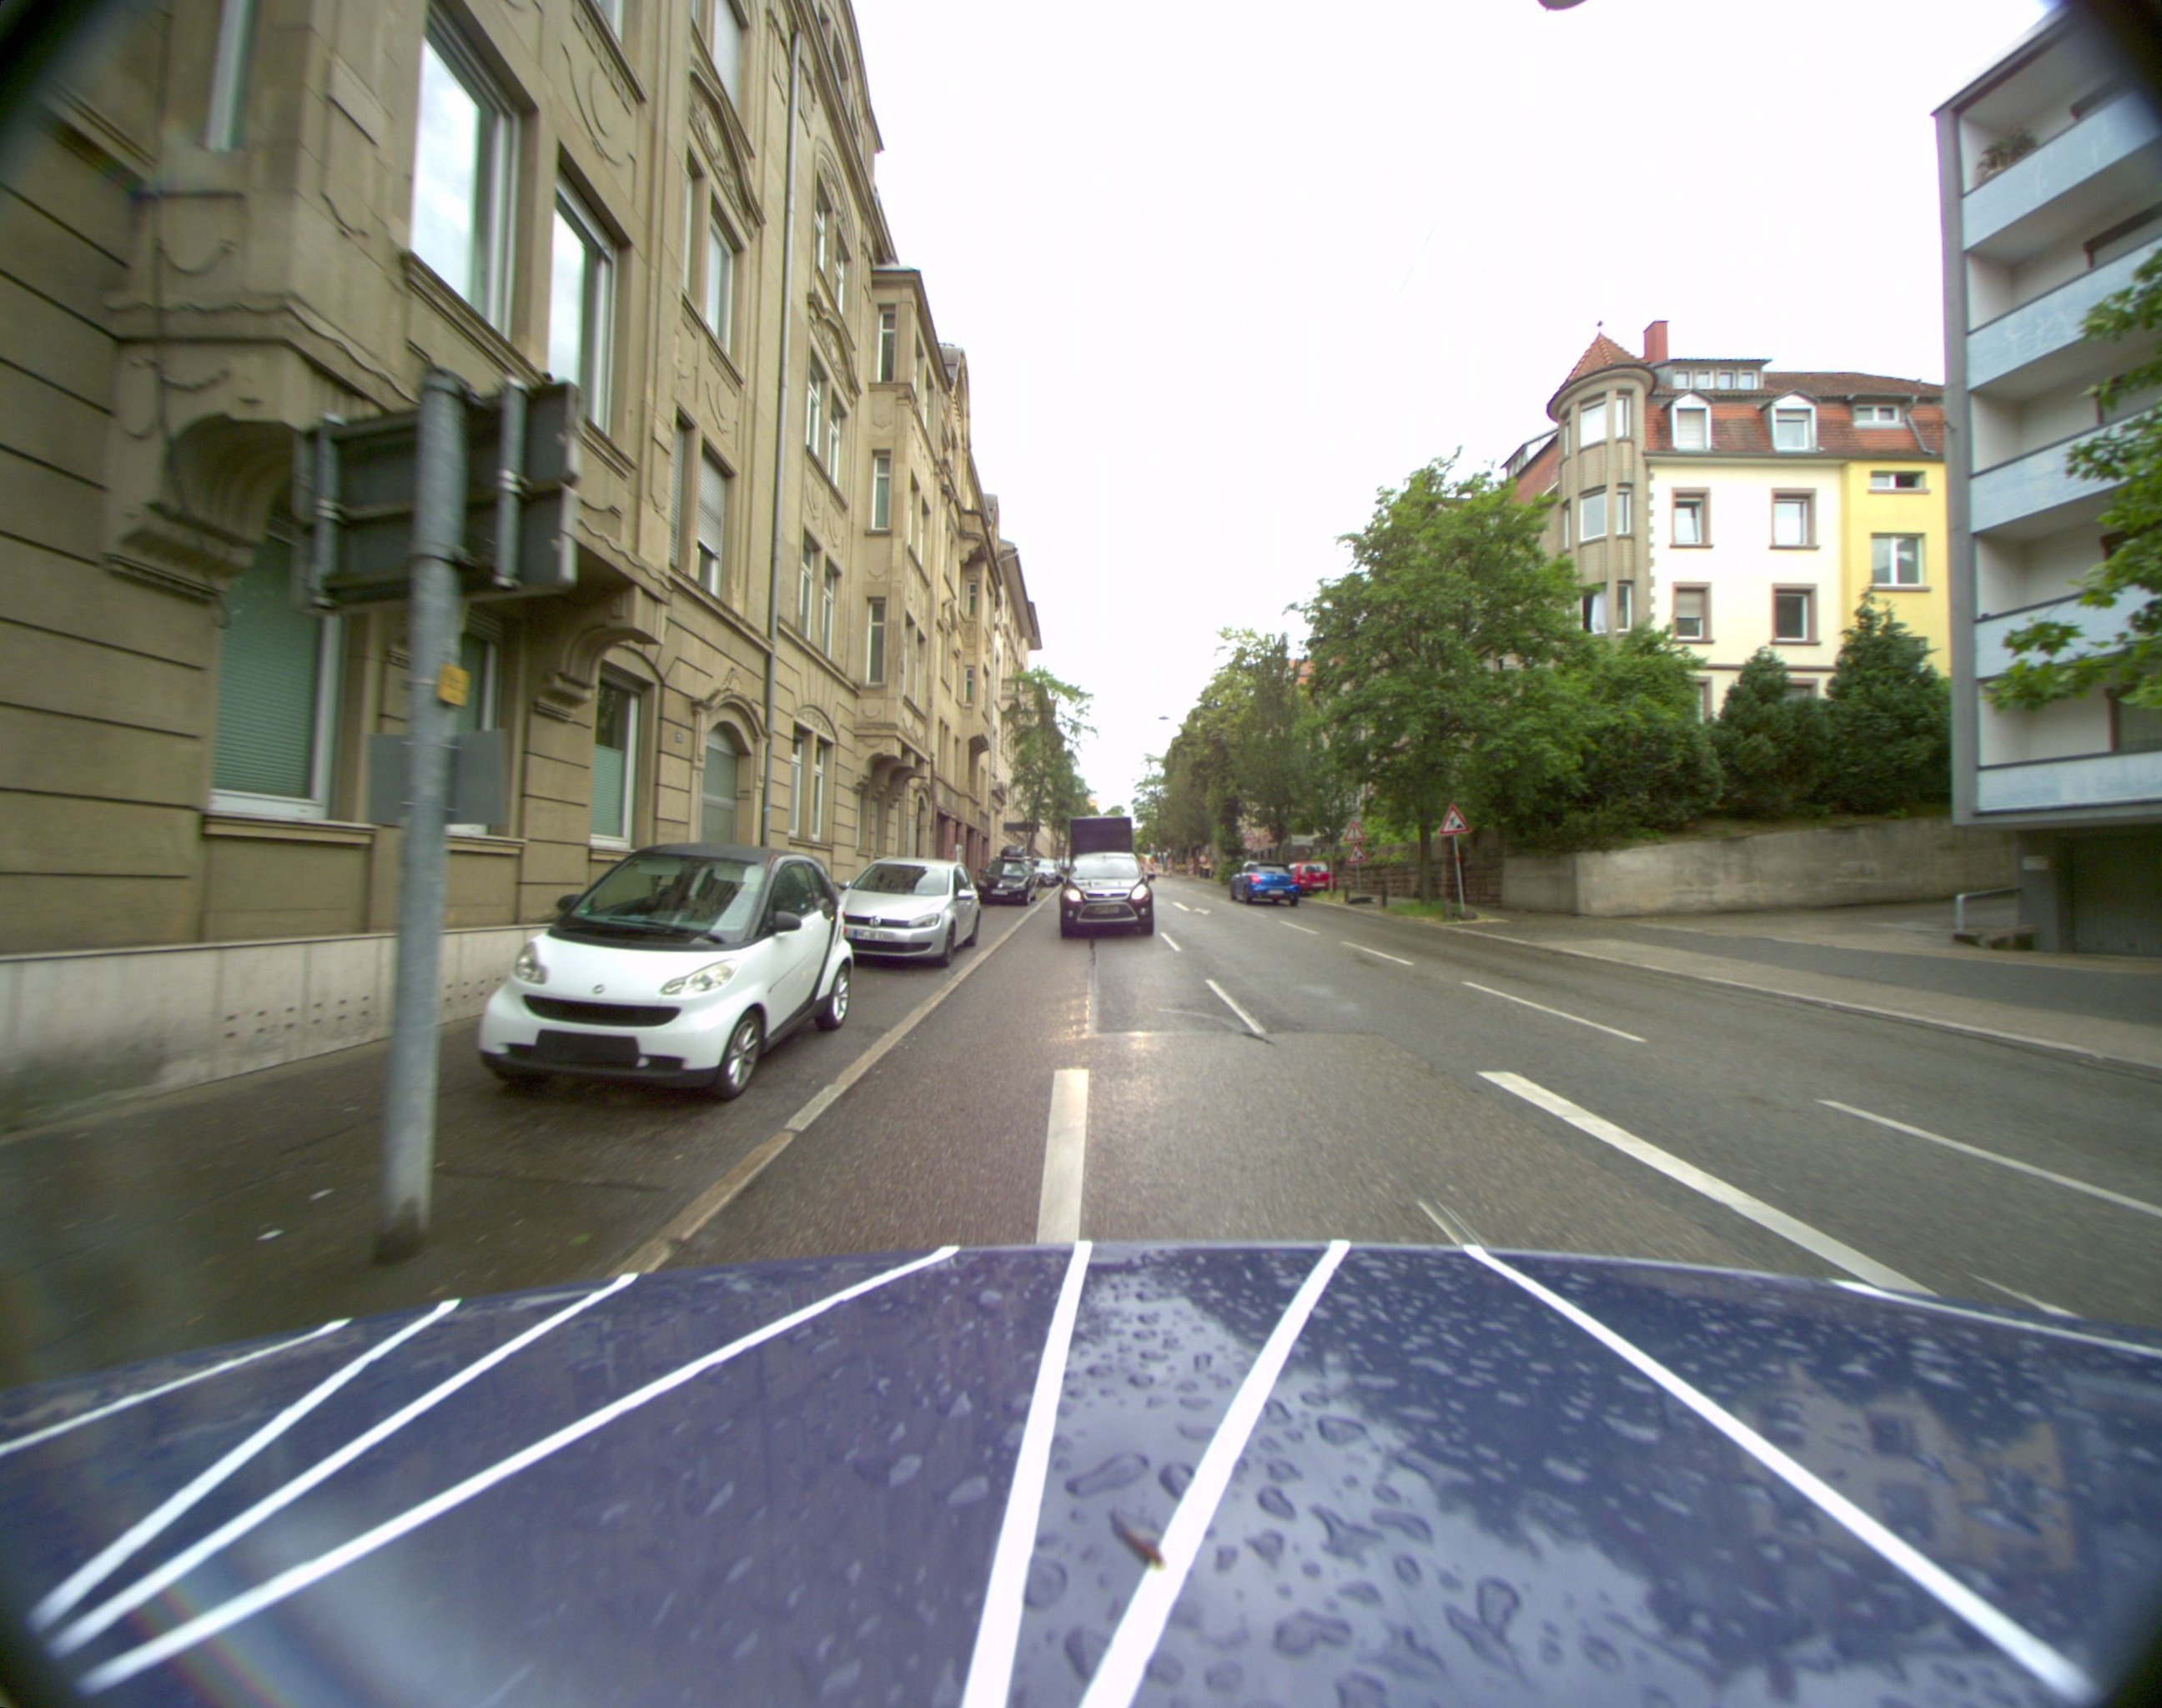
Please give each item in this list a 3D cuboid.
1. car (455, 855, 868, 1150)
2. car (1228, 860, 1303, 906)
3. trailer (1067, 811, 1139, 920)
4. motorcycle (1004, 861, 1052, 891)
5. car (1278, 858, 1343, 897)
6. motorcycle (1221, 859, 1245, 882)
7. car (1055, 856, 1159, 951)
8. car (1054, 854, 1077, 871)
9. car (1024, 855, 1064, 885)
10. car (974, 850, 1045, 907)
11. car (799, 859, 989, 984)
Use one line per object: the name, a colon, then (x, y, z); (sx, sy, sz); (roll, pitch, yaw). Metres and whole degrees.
car: (-2.742, 0.826, 5.688); (1.302, 1.534, 2.976); (4, 0, 1)
car: (6.282, 0.943, 26.240); (1.719, 1.442, 3.742); (1, 0, 1)
trailer: (0.586, 0.281, 21.694); (1.783, 2.744, 4.816); (-1, 1, 1)
motorcycle: (-2.286, 0.973, 33.079); (0.523, 1.236, 2.282); (3, -1, 41)
car: (9.536, 0.934, 31.843); (1.617, 1.442, 4.064); (-1, 0, 2)
motorcycle: (9.615, 1.019, 48.285); (0.802, 1.406, 3.061); (-2, 0, -2)
car: (0.540, 0.880, 15.766); (1.823, 1.662, 4.522); (-1, 0, 2)
car: (-1.433, 0.800, 72.662); (1.910, 1.503, 4.318); (3, 0, 2)
car: (-1.956, 0.838, 41.423); (1.794, 1.444, 4.039); (3, 0, 2)
car: (-2.312, 0.775, 25.637); (1.764, 1.641, 4.099); (4, 0, 2)
car: (-2.629, 0.873, 11.659); (1.764, 1.443, 4.000); (4, 0, 1)
